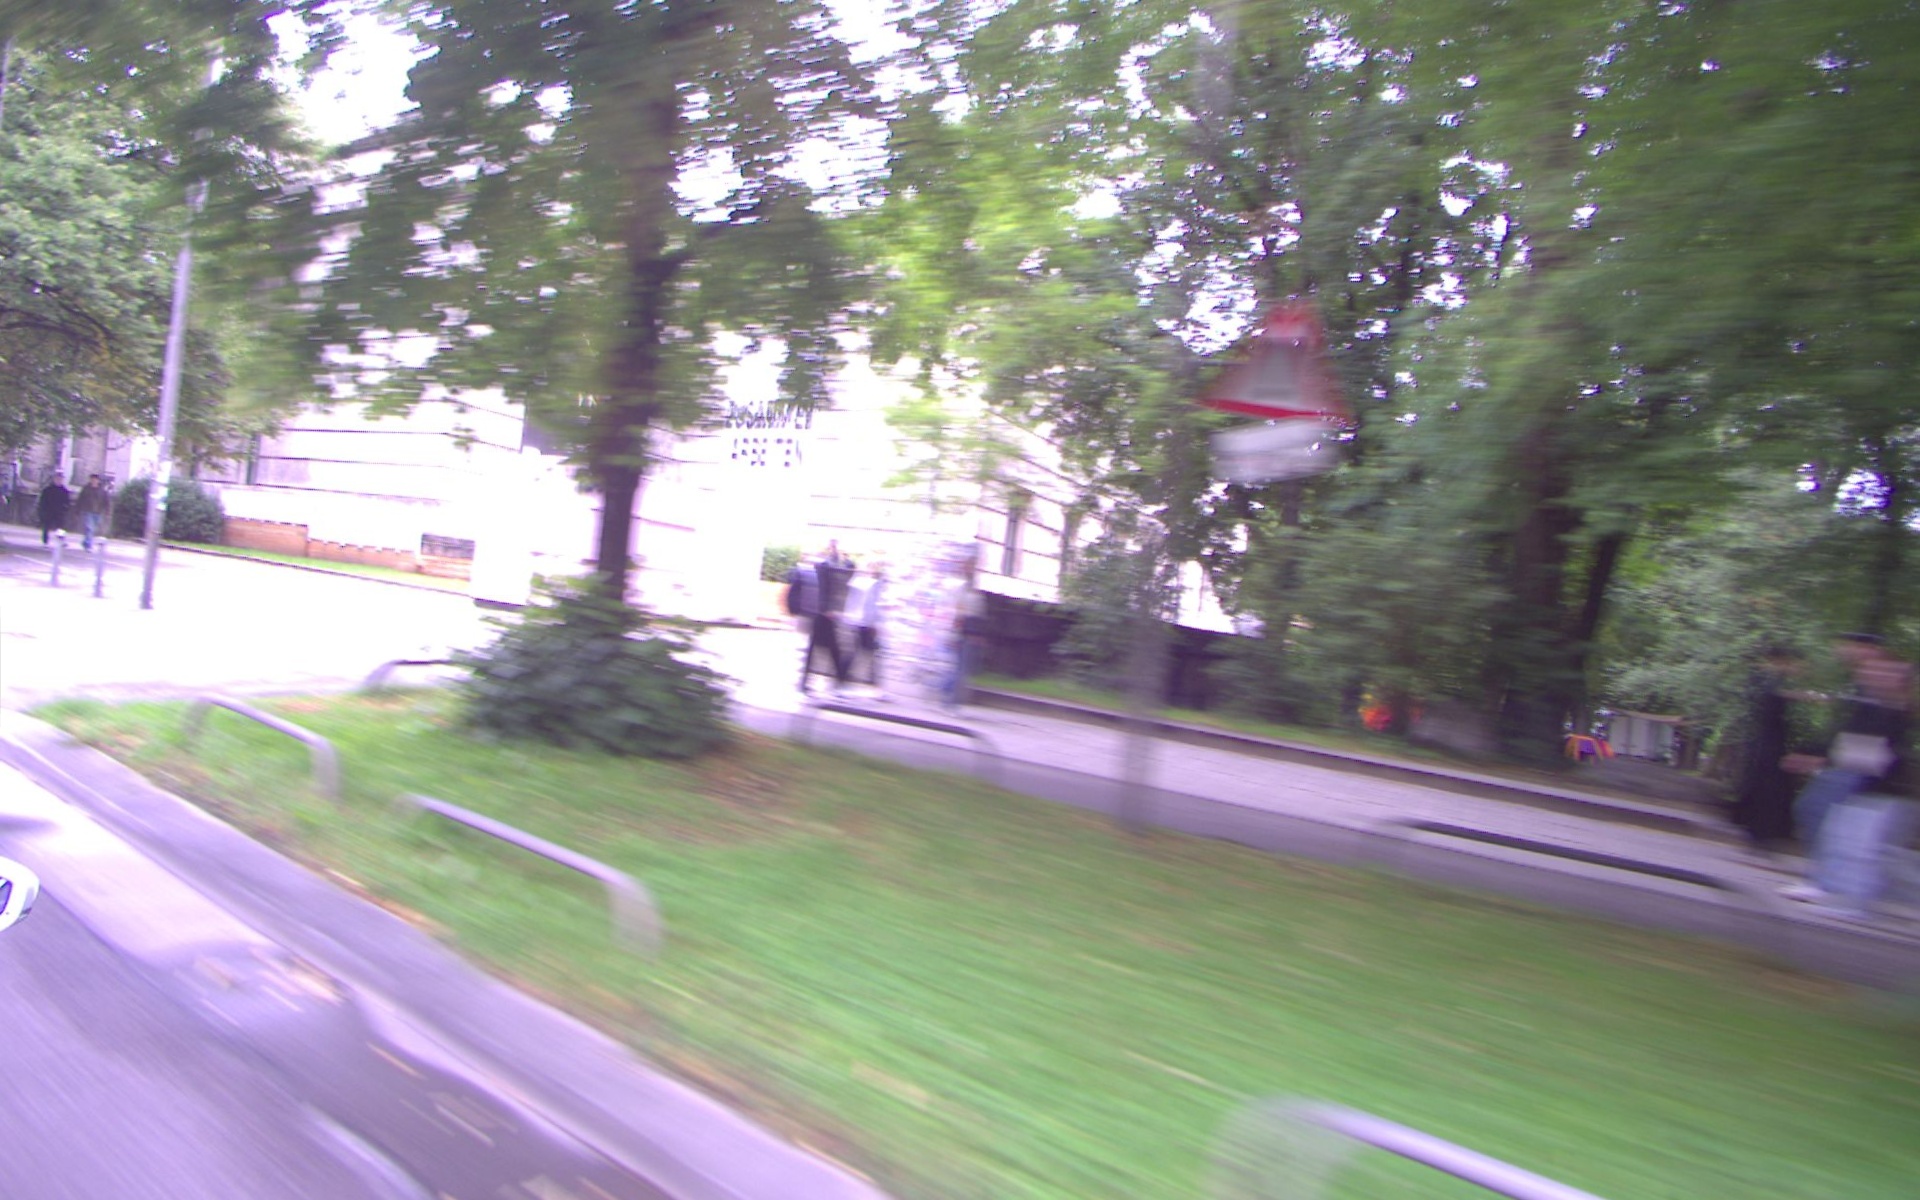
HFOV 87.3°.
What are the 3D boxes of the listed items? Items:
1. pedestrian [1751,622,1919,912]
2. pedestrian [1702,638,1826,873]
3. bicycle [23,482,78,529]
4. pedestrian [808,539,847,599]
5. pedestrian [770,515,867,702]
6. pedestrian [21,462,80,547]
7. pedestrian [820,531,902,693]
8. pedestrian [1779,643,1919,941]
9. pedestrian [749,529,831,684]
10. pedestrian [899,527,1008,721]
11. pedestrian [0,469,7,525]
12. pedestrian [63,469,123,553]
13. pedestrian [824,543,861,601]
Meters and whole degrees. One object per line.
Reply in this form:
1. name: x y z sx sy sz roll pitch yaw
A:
1. pedestrian: 6.076 1.107 6.912 0.784 1.784 0.608 7 -1 34
2. pedestrian: 6.270 1.189 7.873 0.544 1.695 0.580 7 -1 34
3. bicycle: -31.670 -3.288 35.022 2.260 1.433 0.700 7 1 31
4. pedestrian: -3.780 -0.885 28.712 0.758 1.576 0.488 7 -1 31
5. pedestrian: -1.629 0.092 11.571 0.712 2.040 0.594 7 3 31
6. pedestrian: -22.165 -2.327 24.522 0.758 1.933 0.700 7 -1 31
7. pedestrian: -1.185 0.141 12.131 0.710 1.833 0.596 6 2 7
8. pedestrian: 5.750 1.175 6.303 0.741 1.701 0.608 7 -1 34
9. pedestrian: -2.124 0.082 12.641 0.710 1.833 0.596 6 2 7
10. pedestrian: -0.066 0.258 11.331 0.763 2.041 0.763 7 4 31
11. pedestrian: -32.991 -3.513 34.017 0.758 1.933 0.780 7 -1 31
12. pedestrian: -21.605 -2.216 25.071 0.758 1.933 0.765 7 -1 31
13. pedestrian: -3.430 -0.817 29.307 0.758 1.576 0.488 7 -1 31
